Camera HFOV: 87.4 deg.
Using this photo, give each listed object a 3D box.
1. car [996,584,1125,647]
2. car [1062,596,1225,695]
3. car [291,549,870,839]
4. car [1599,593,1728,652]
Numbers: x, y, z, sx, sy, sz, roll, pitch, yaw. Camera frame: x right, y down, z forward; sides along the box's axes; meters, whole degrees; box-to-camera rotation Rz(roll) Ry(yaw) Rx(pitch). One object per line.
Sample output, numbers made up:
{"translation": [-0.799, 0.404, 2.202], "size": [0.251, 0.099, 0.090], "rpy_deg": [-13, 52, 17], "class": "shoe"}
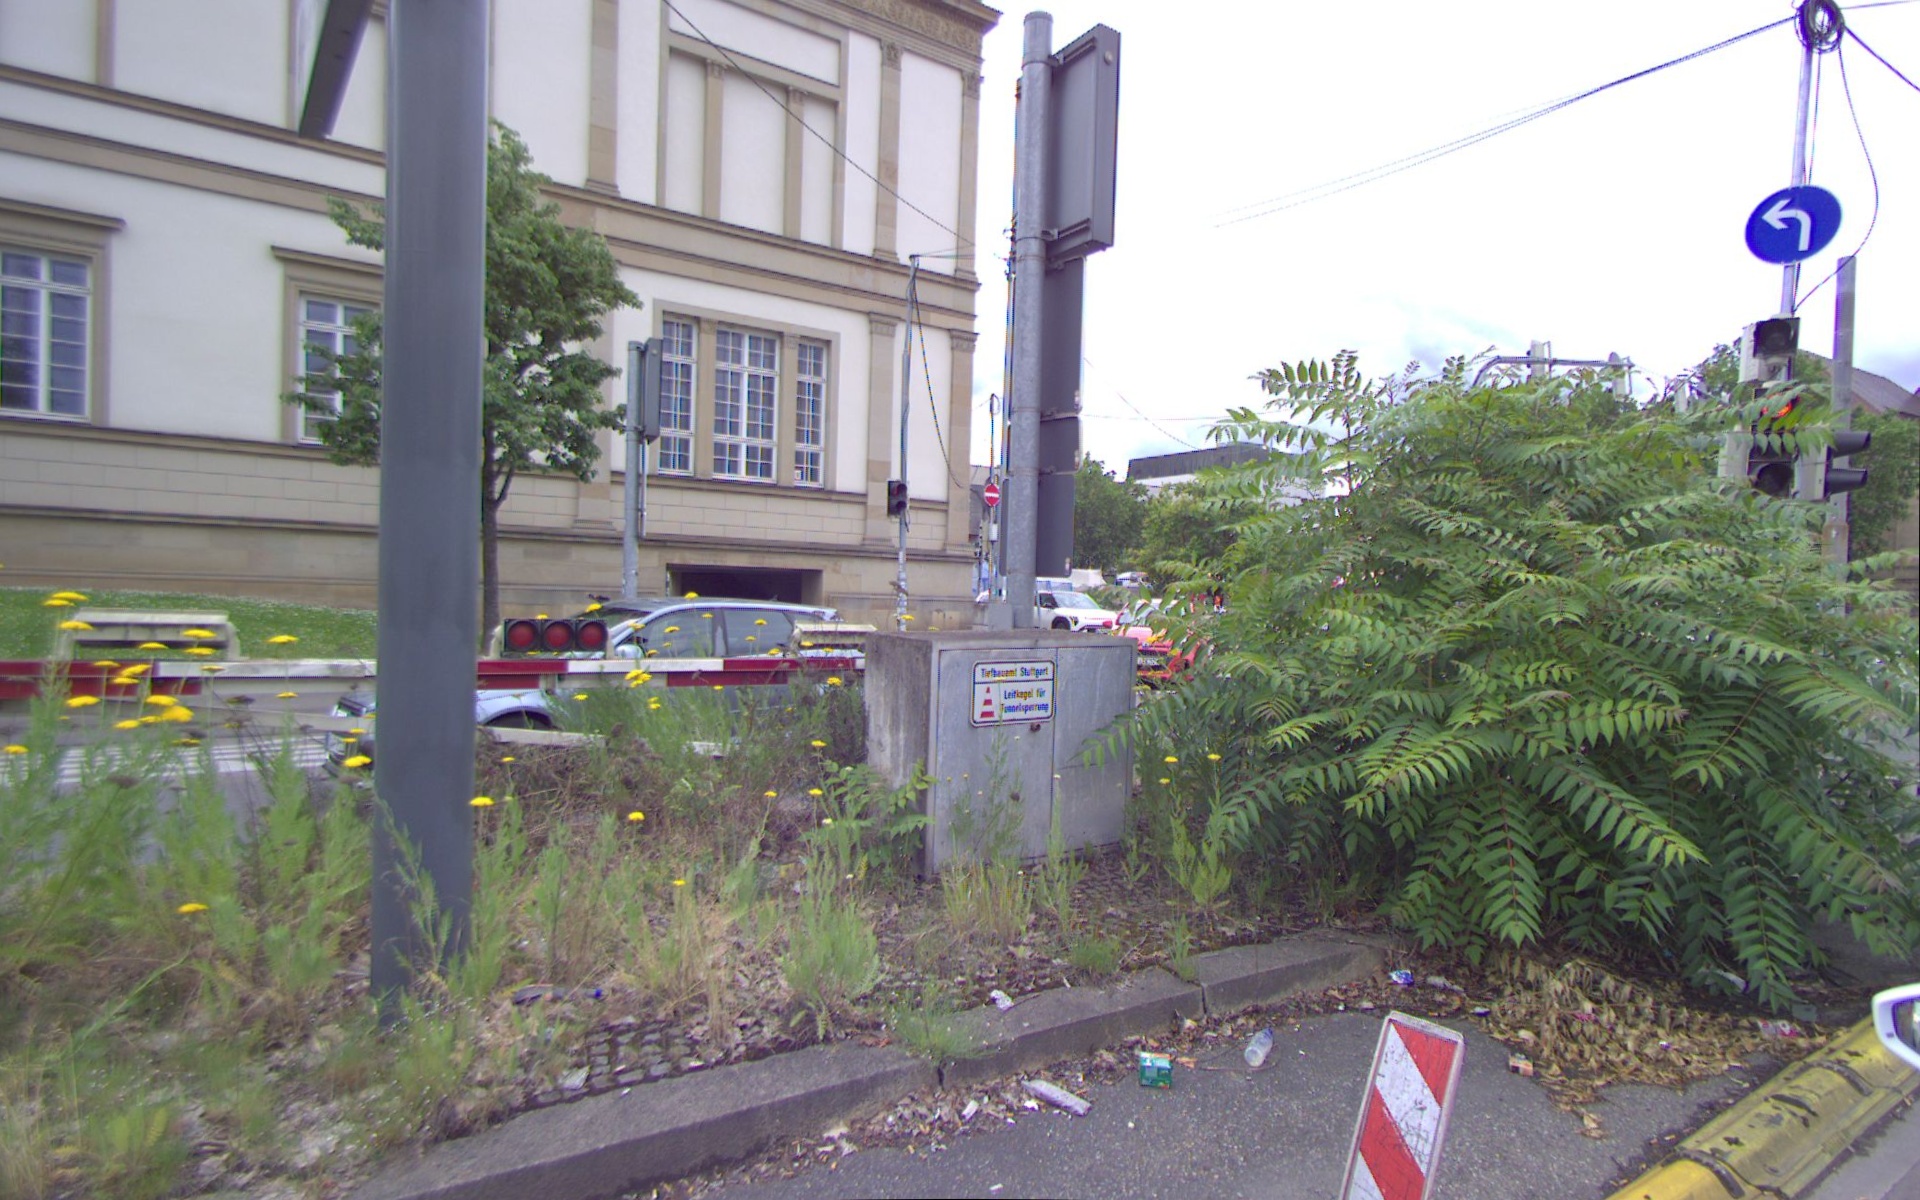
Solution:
{"translation": [2.854, 0.420, 29.540], "size": [1.850, 1.714, 4.242], "rpy_deg": [2, 0, -25], "class": "car"}
{"translation": [3.385, 0.757, 18.006], "size": [1.619, 1.497, 3.566], "rpy_deg": [4, 1, 32], "class": "car"}
{"translation": [-2.661, 0.559, 7.725], "size": [1.752, 1.639, 3.786], "rpy_deg": [2, 0, 39], "class": "car"}
{"translation": [36.987, 1.154, 52.921], "size": [1.818, 2.894, 5.269], "rpy_deg": [2, 0, -44], "class": "car"}
